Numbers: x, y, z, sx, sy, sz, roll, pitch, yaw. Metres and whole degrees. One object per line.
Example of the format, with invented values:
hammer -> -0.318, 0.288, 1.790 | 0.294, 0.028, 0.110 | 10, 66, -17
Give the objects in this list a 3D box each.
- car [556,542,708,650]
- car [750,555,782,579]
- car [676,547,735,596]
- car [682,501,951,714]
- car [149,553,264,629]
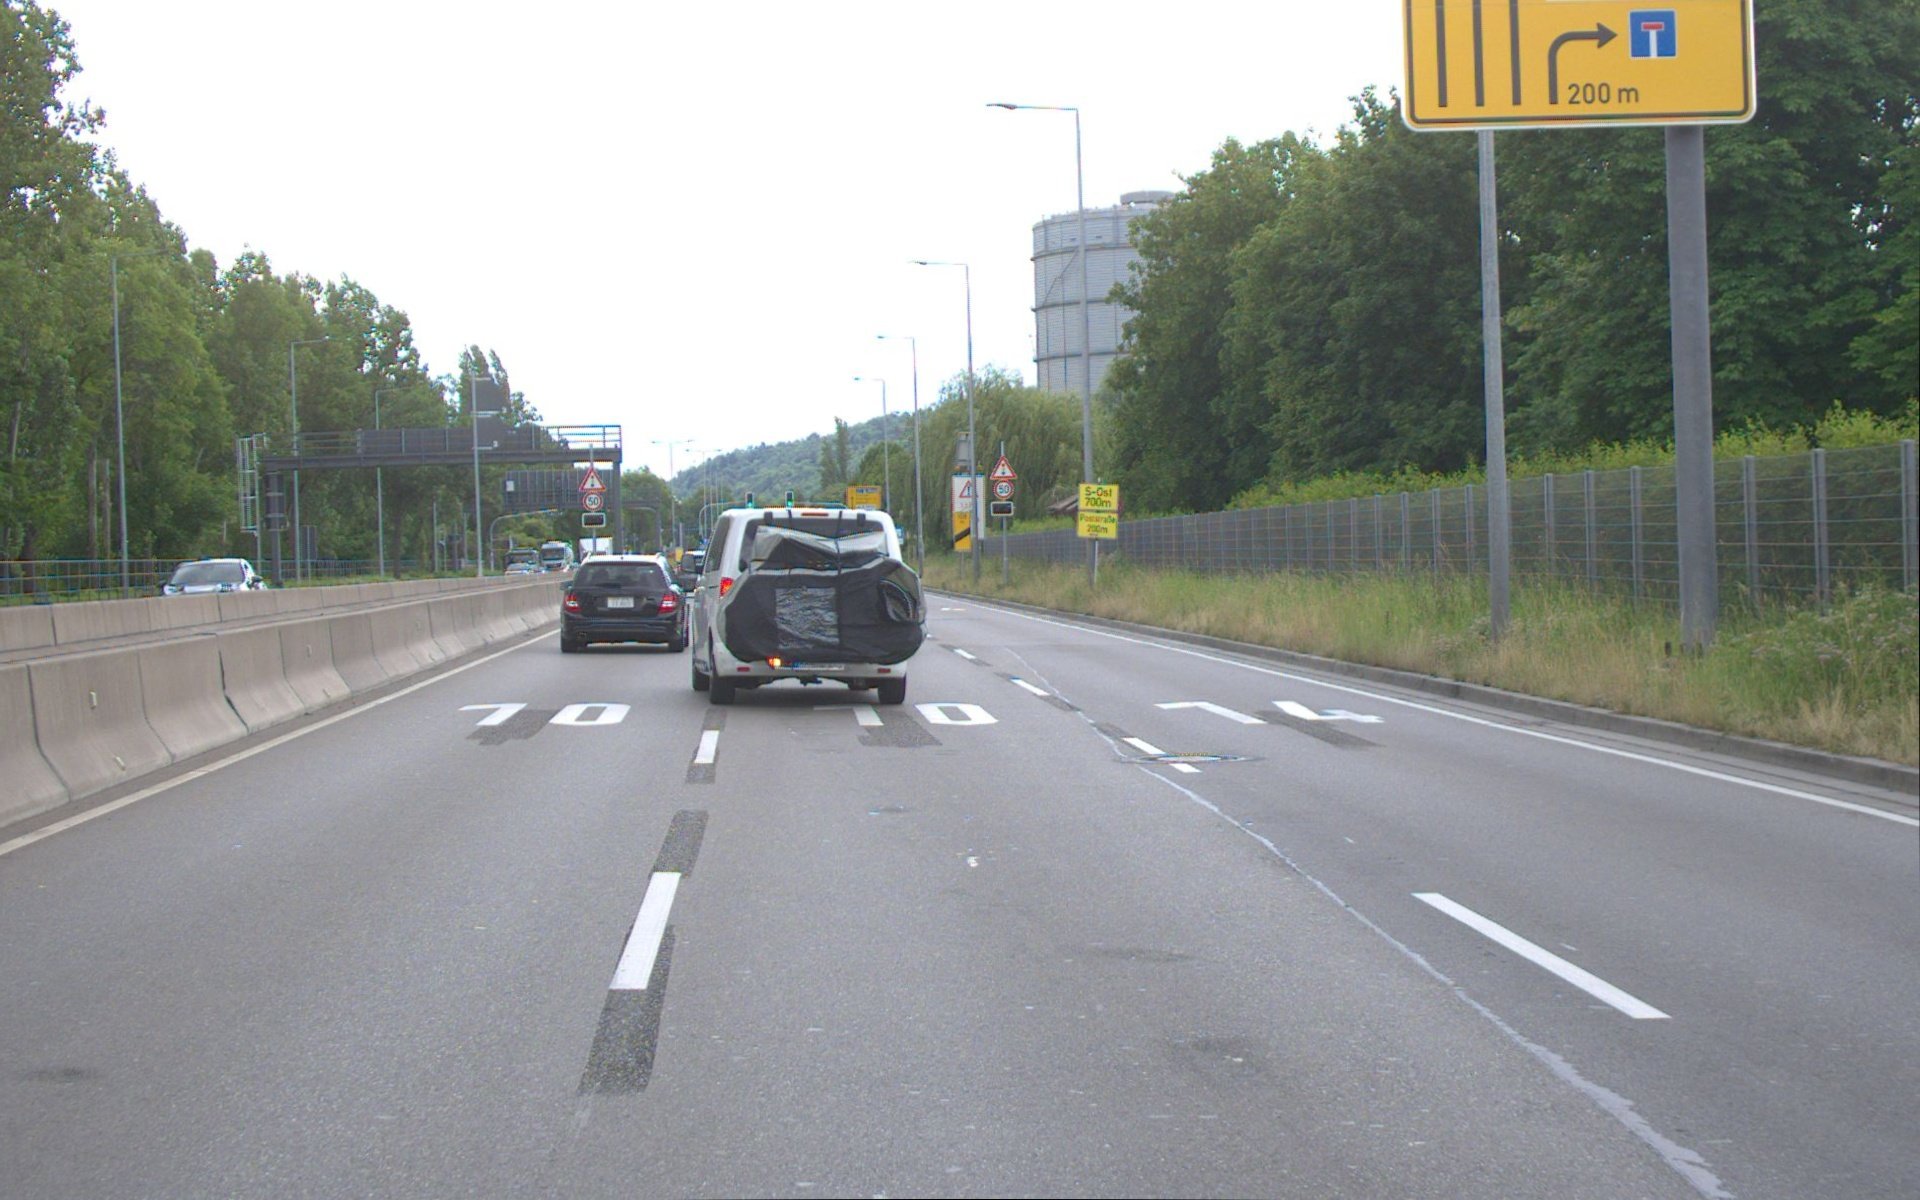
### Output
car -> -4.736, -0.087, 50.085 | 1.815, 1.429, 4.065 | -2, 1, 0
car -> -13.184, -2.239, 233.737 | 1.993, 1.648, 4.001 | 0, 1, -5
car -> -8.897, -0.997, 120.416 | 1.993, 1.667, 4.000 | 1, 0, -3
car -> -1.496, 0.017, 33.388 | 1.992, 1.852, 5.642 | 1, 1, -8
car -> -14.209, -0.191, 64.999 | 1.732, 1.369, 3.617 | -1, 1, -6
